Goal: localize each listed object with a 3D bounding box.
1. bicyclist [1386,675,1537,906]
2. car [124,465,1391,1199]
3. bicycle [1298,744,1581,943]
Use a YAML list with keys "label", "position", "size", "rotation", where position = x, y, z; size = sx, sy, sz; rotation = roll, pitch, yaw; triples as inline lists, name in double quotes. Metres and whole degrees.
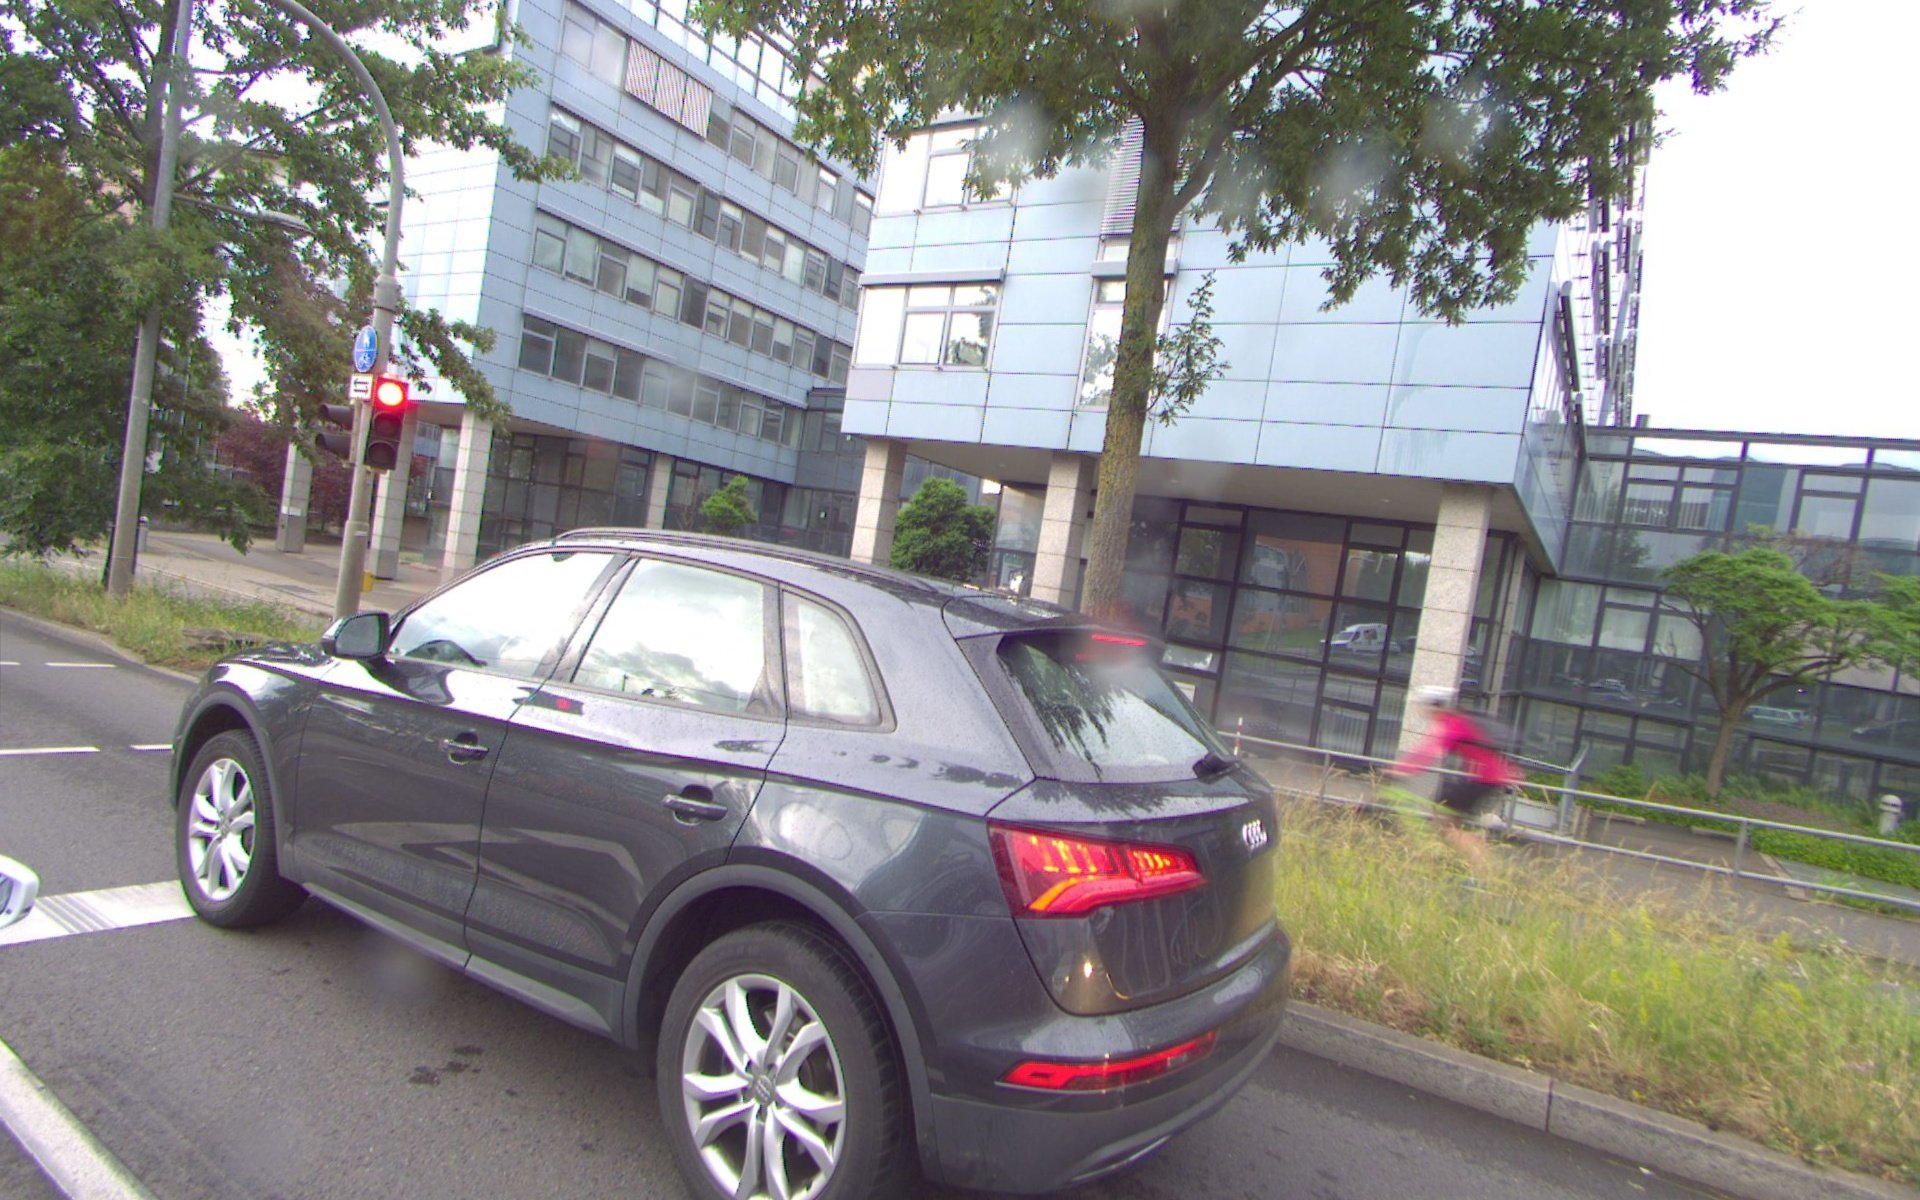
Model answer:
- label: "bicyclist"
  position: [3.975, 1.464, 7.958]
  size: [0.840, 1.597, 0.647]
  rotation: [8, -1, 32]
- label: "car"
  position: [-0.986, 0.568, 3.725]
  size: [4.396, 1.632, 1.821]
  rotation: [7, -1, 32]
- label: "bicycle"
  position: [3.799, 1.872, 8.052]
  size: [1.874, 1.101, 0.581]
  rotation: [7, -1, 32]
